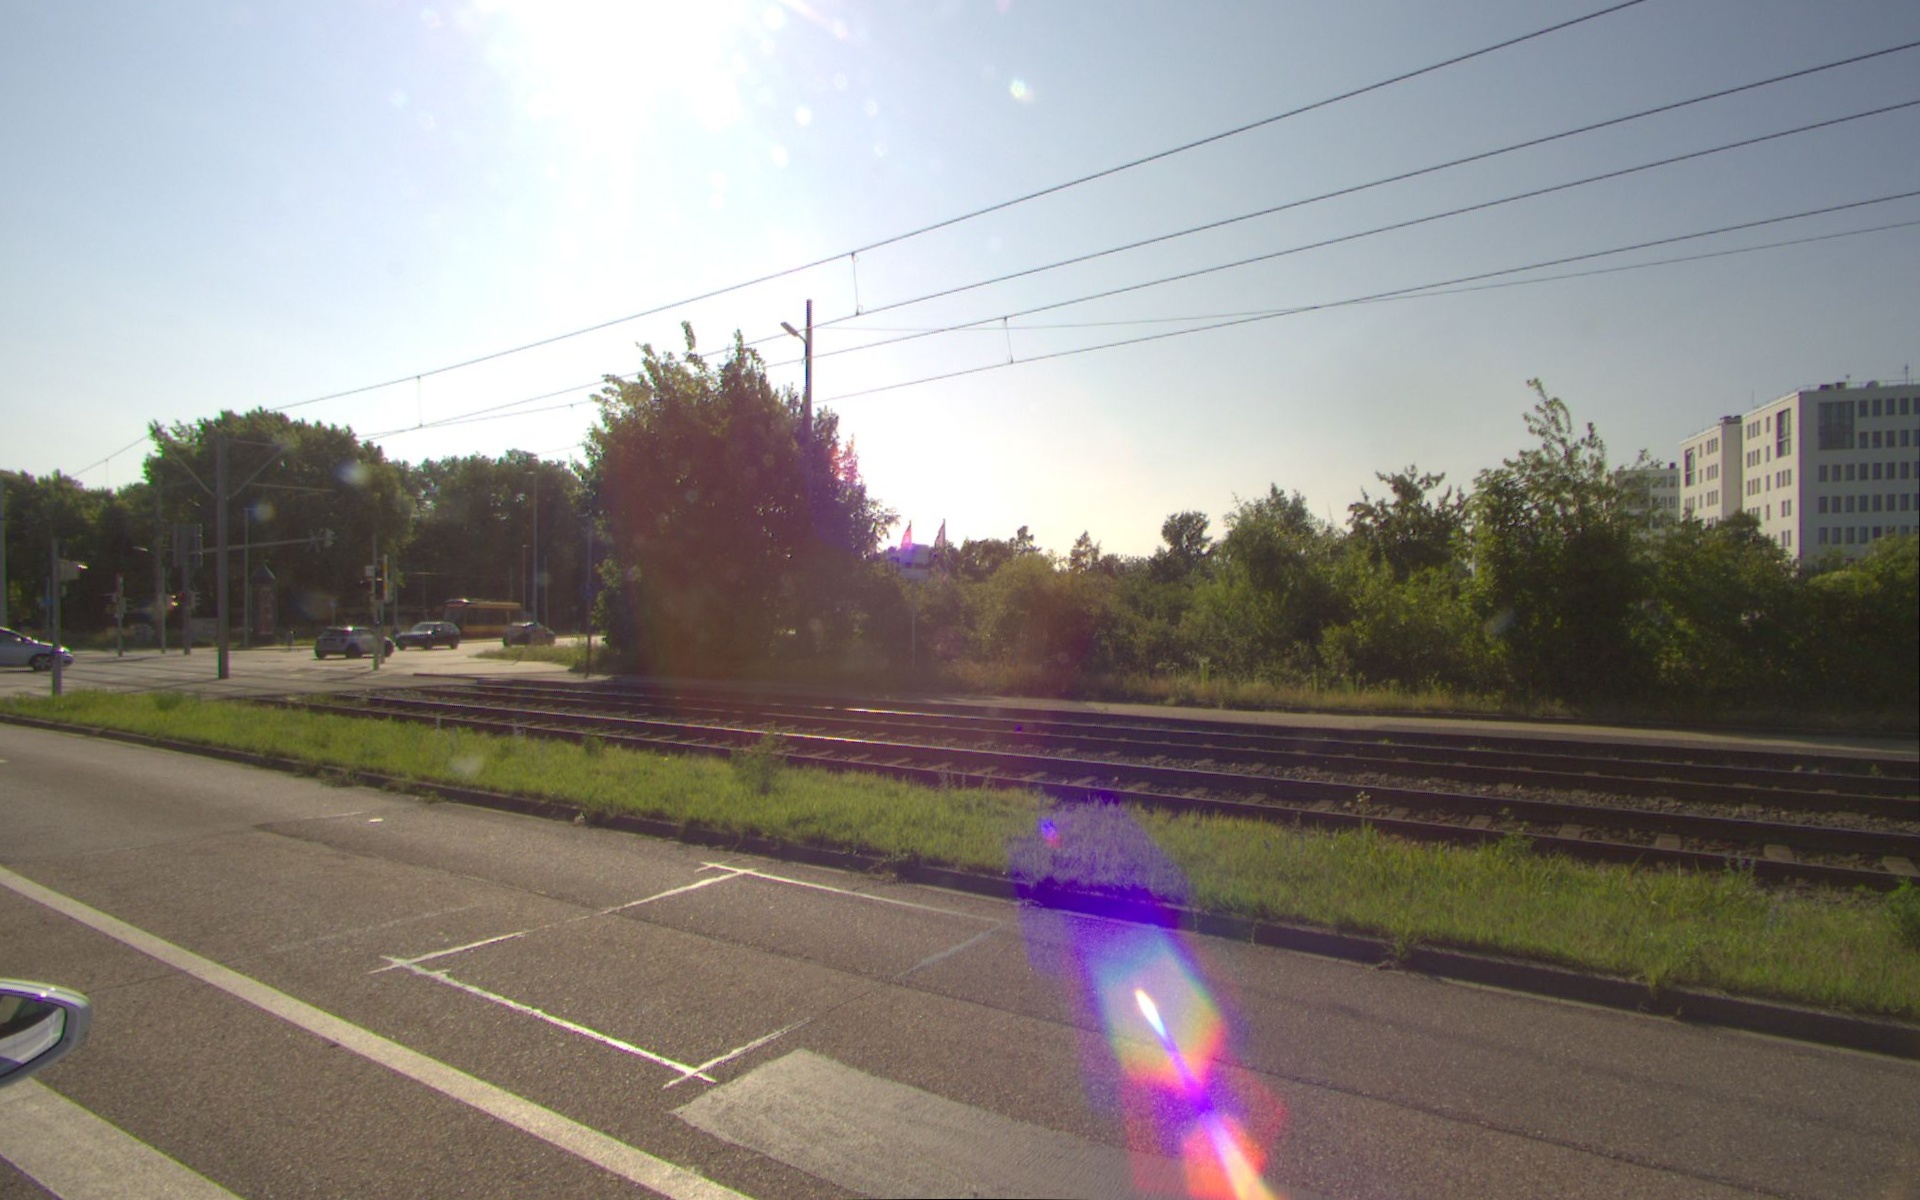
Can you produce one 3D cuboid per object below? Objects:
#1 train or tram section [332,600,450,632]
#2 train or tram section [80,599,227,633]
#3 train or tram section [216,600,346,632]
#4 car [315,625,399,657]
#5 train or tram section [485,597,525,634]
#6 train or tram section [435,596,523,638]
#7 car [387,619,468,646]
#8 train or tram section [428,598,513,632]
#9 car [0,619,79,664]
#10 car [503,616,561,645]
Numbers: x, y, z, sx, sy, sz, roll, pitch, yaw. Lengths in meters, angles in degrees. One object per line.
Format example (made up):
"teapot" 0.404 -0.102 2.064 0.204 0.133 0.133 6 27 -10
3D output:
"train or tram section" -66.491 1.877 117.229 11.992 3.626 3.054 0 -1 -1
"train or tram section" -88.969 1.751 110.817 12.249 3.626 3.041 0 -1 -27
"train or tram section" -78.205 1.853 115.629 12.027 3.626 3.045 0 -1 -22
"car" -28.595 1.917 47.602 1.575 1.401 3.529 0 -1 8
"train or tram section" -47.642 1.621 104.616 3.009 3.626 12.174 0 -1 -28
"train or tram section" -44.471 1.565 93.203 2.995 3.626 11.853 0 -1 -3
"car" -31.889 1.923 60.129 2.005 1.583 4.863 0 -1 5
"train or tram section" -55.548 1.738 113.449 12.061 3.626 3.037 -1 -1 34
"car" -34.109 1.455 35.597 4.161 1.583 1.839 1 -1 -43
"car" -27.972 1.983 65.622 1.617 1.745 4.622 1 0 2
